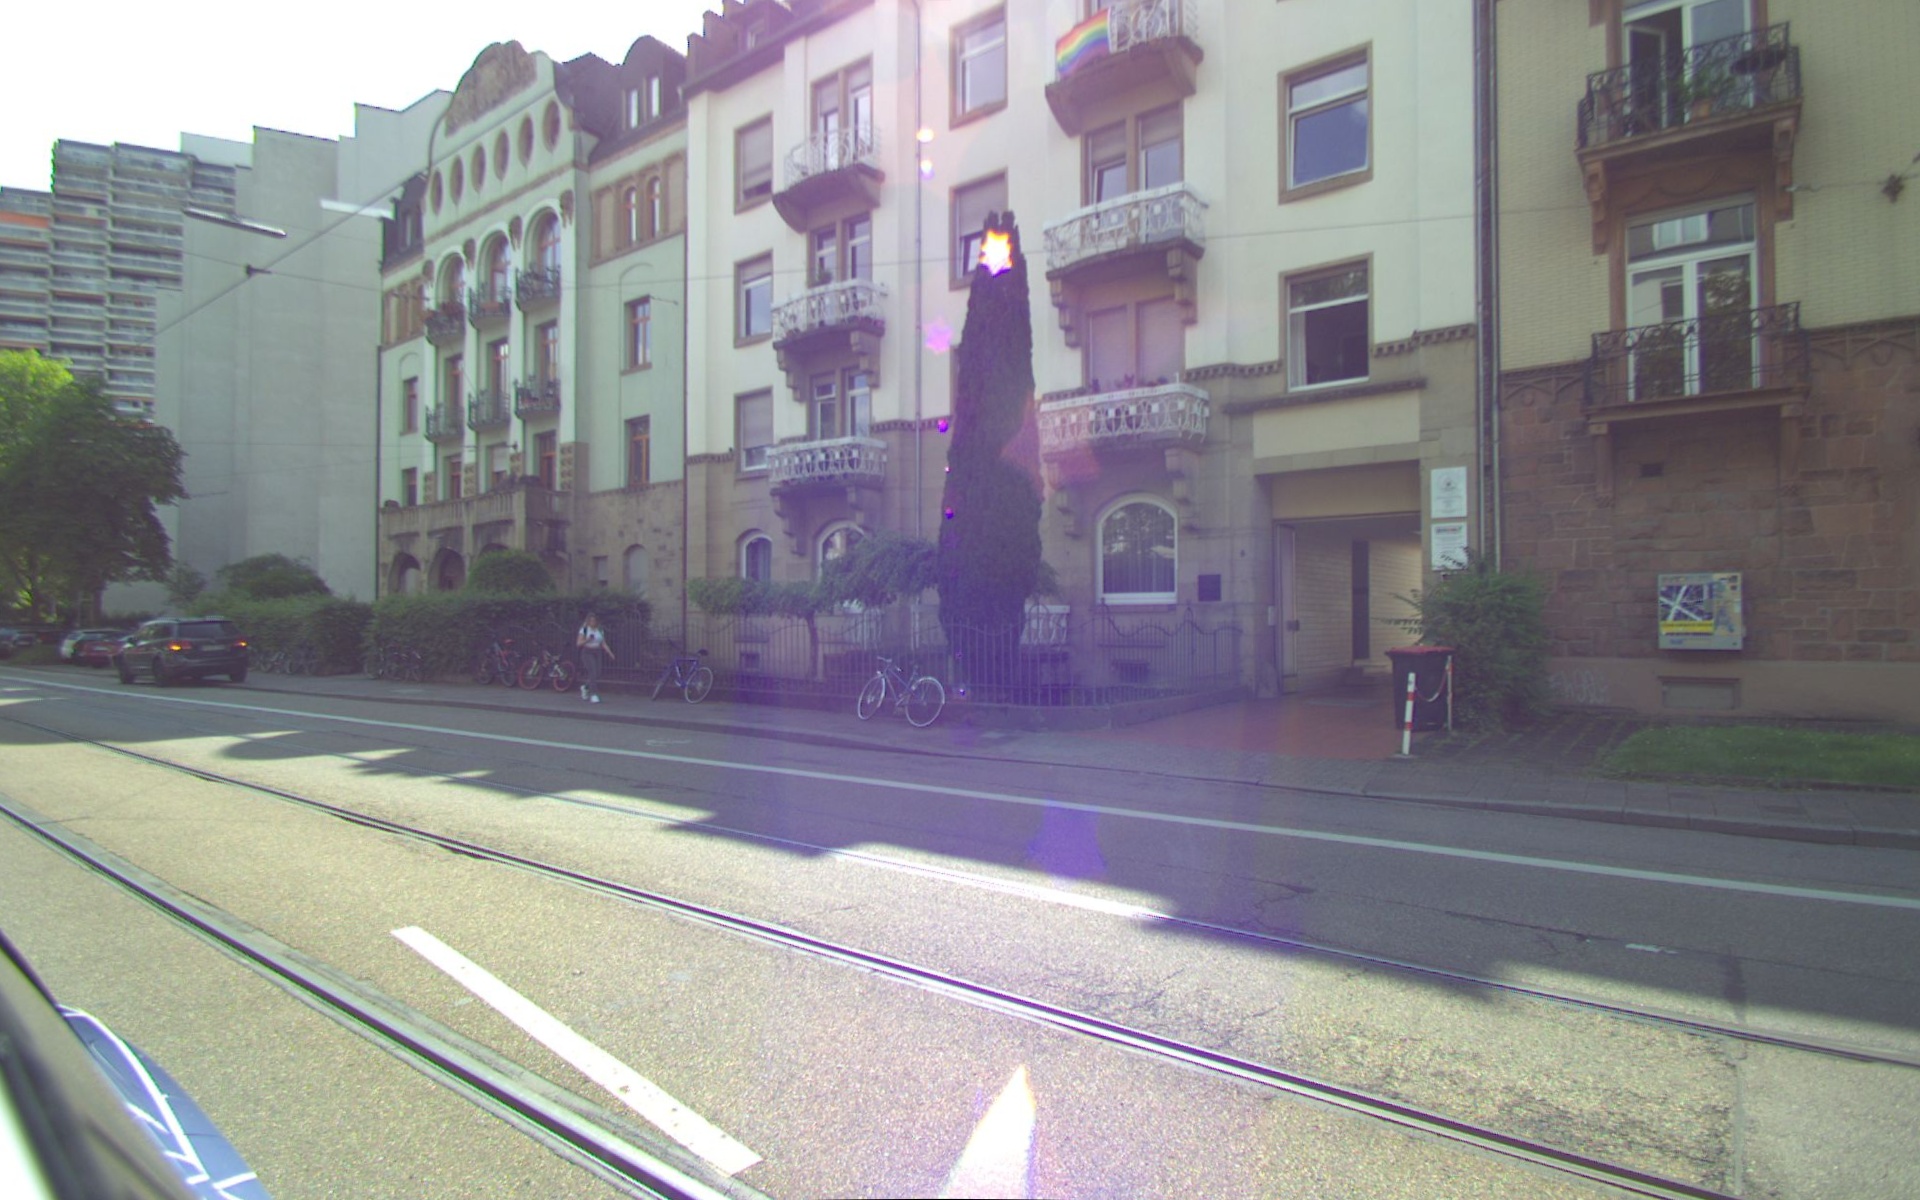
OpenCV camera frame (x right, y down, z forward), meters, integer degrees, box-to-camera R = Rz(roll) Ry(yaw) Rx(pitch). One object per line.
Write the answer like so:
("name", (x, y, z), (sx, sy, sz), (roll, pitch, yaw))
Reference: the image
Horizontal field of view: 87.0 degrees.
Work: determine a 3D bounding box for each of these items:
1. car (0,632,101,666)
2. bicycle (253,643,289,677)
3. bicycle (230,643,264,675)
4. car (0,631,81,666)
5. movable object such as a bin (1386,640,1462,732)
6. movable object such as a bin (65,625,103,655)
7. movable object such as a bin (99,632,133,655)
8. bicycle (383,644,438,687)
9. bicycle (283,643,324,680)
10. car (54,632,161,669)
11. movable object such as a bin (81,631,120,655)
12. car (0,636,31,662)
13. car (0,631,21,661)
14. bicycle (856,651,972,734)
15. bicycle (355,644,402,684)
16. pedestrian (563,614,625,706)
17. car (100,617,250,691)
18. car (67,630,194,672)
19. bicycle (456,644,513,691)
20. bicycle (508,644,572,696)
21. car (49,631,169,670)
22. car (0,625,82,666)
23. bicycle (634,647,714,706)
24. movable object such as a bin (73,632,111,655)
("car", (-42.302, 2.299, 46.898), (1.714, 1.495, 4.004), (1, -3, -5))
("bicycle", (-20.254, 1.746, 29.734), (1.808, 0.966, 0.379), (-2, -1, 40))
("bicycle", (-21.883, 1.797, 31.040), (1.808, 0.966, 0.379), (-2, -1, 40))
("car", (-44.839, 2.329, 48.765), (1.714, 1.605, 4.005), (2, -3, -7))
("movable object such as a bin", (5.861, 1.076, 12.800), (0.587, 1.077, 0.609), (-2, 1, -18))
("movable object such as a bin", (-55.800, 2.560, 64.464), (1.535, 1.795, 1.375), (-1, -5, 34))
("movable object such as a bin", (-49.315, 2.553, 59.160), (1.439, 1.293, 1.157), (-1, -5, 37))
("bicycle", (-13.026, 1.531, 23.970), (1.798, 0.966, 0.447), (-2, -1, 37))
("bicycle", (-18.265, 1.693, 28.138), (1.919, 0.966, 0.379), (-2, -1, 40))
("car", (-36.437, 2.170, 43.403), (1.671, 1.495, 3.813), (2, -3, -8))
("movable object such as a bin", (-53.055, 2.670, 62.450), (1.535, 1.374, 1.375), (-1, -5, 34))
("car", (-52.623, 2.618, 54.535), (1.732, 1.428, 4.007), (2, -3, -8))
("car", (-55.093, 2.530, 56.634), (1.733, 1.706, 3.720), (1, -3, -6))
("bicycle", (-0.670, 1.257, 14.118), (1.816, 0.966, 0.505), (1, 2, 45))
("bicycle", (-14.568, 1.589, 25.337), (1.919, 0.966, 0.379), (-2, -1, 40))
("pedestrian", (-6.555, 1.059, 18.139), (0.881, 1.580, 0.673), (-1, 0, 40))
("car", (-20.609, 1.367, 26.509), (4.872, 1.776, 1.769), (-2, -2, 36))
("car", (-31.823, 1.991, 38.971), (1.818, 1.495, 3.975), (1, -3, -5))
("bicycle", (-10.320, 1.441, 21.959), (1.799, 0.966, 0.379), (-2, -1, 40))
("bicycle", (-8.444, 1.386, 20.329), (1.799, 0.983, 0.379), (-2, -1, 40))
("car", (-34.289, 2.063, 40.921), (1.673, 1.495, 3.808), (1, -3, -2))
("car", (-47.275, 2.309, 51.062), (1.886, 1.969, 5.177), (2, -3, -8))
("bicycle", (-4.992, 1.312, 17.612), (1.704, 0.966, 0.422), (-2, -1, 40))
("movable object such as a bin", (-54.398, 2.732, 63.414), (1.535, 1.374, 1.375), (-1, -5, 34))
